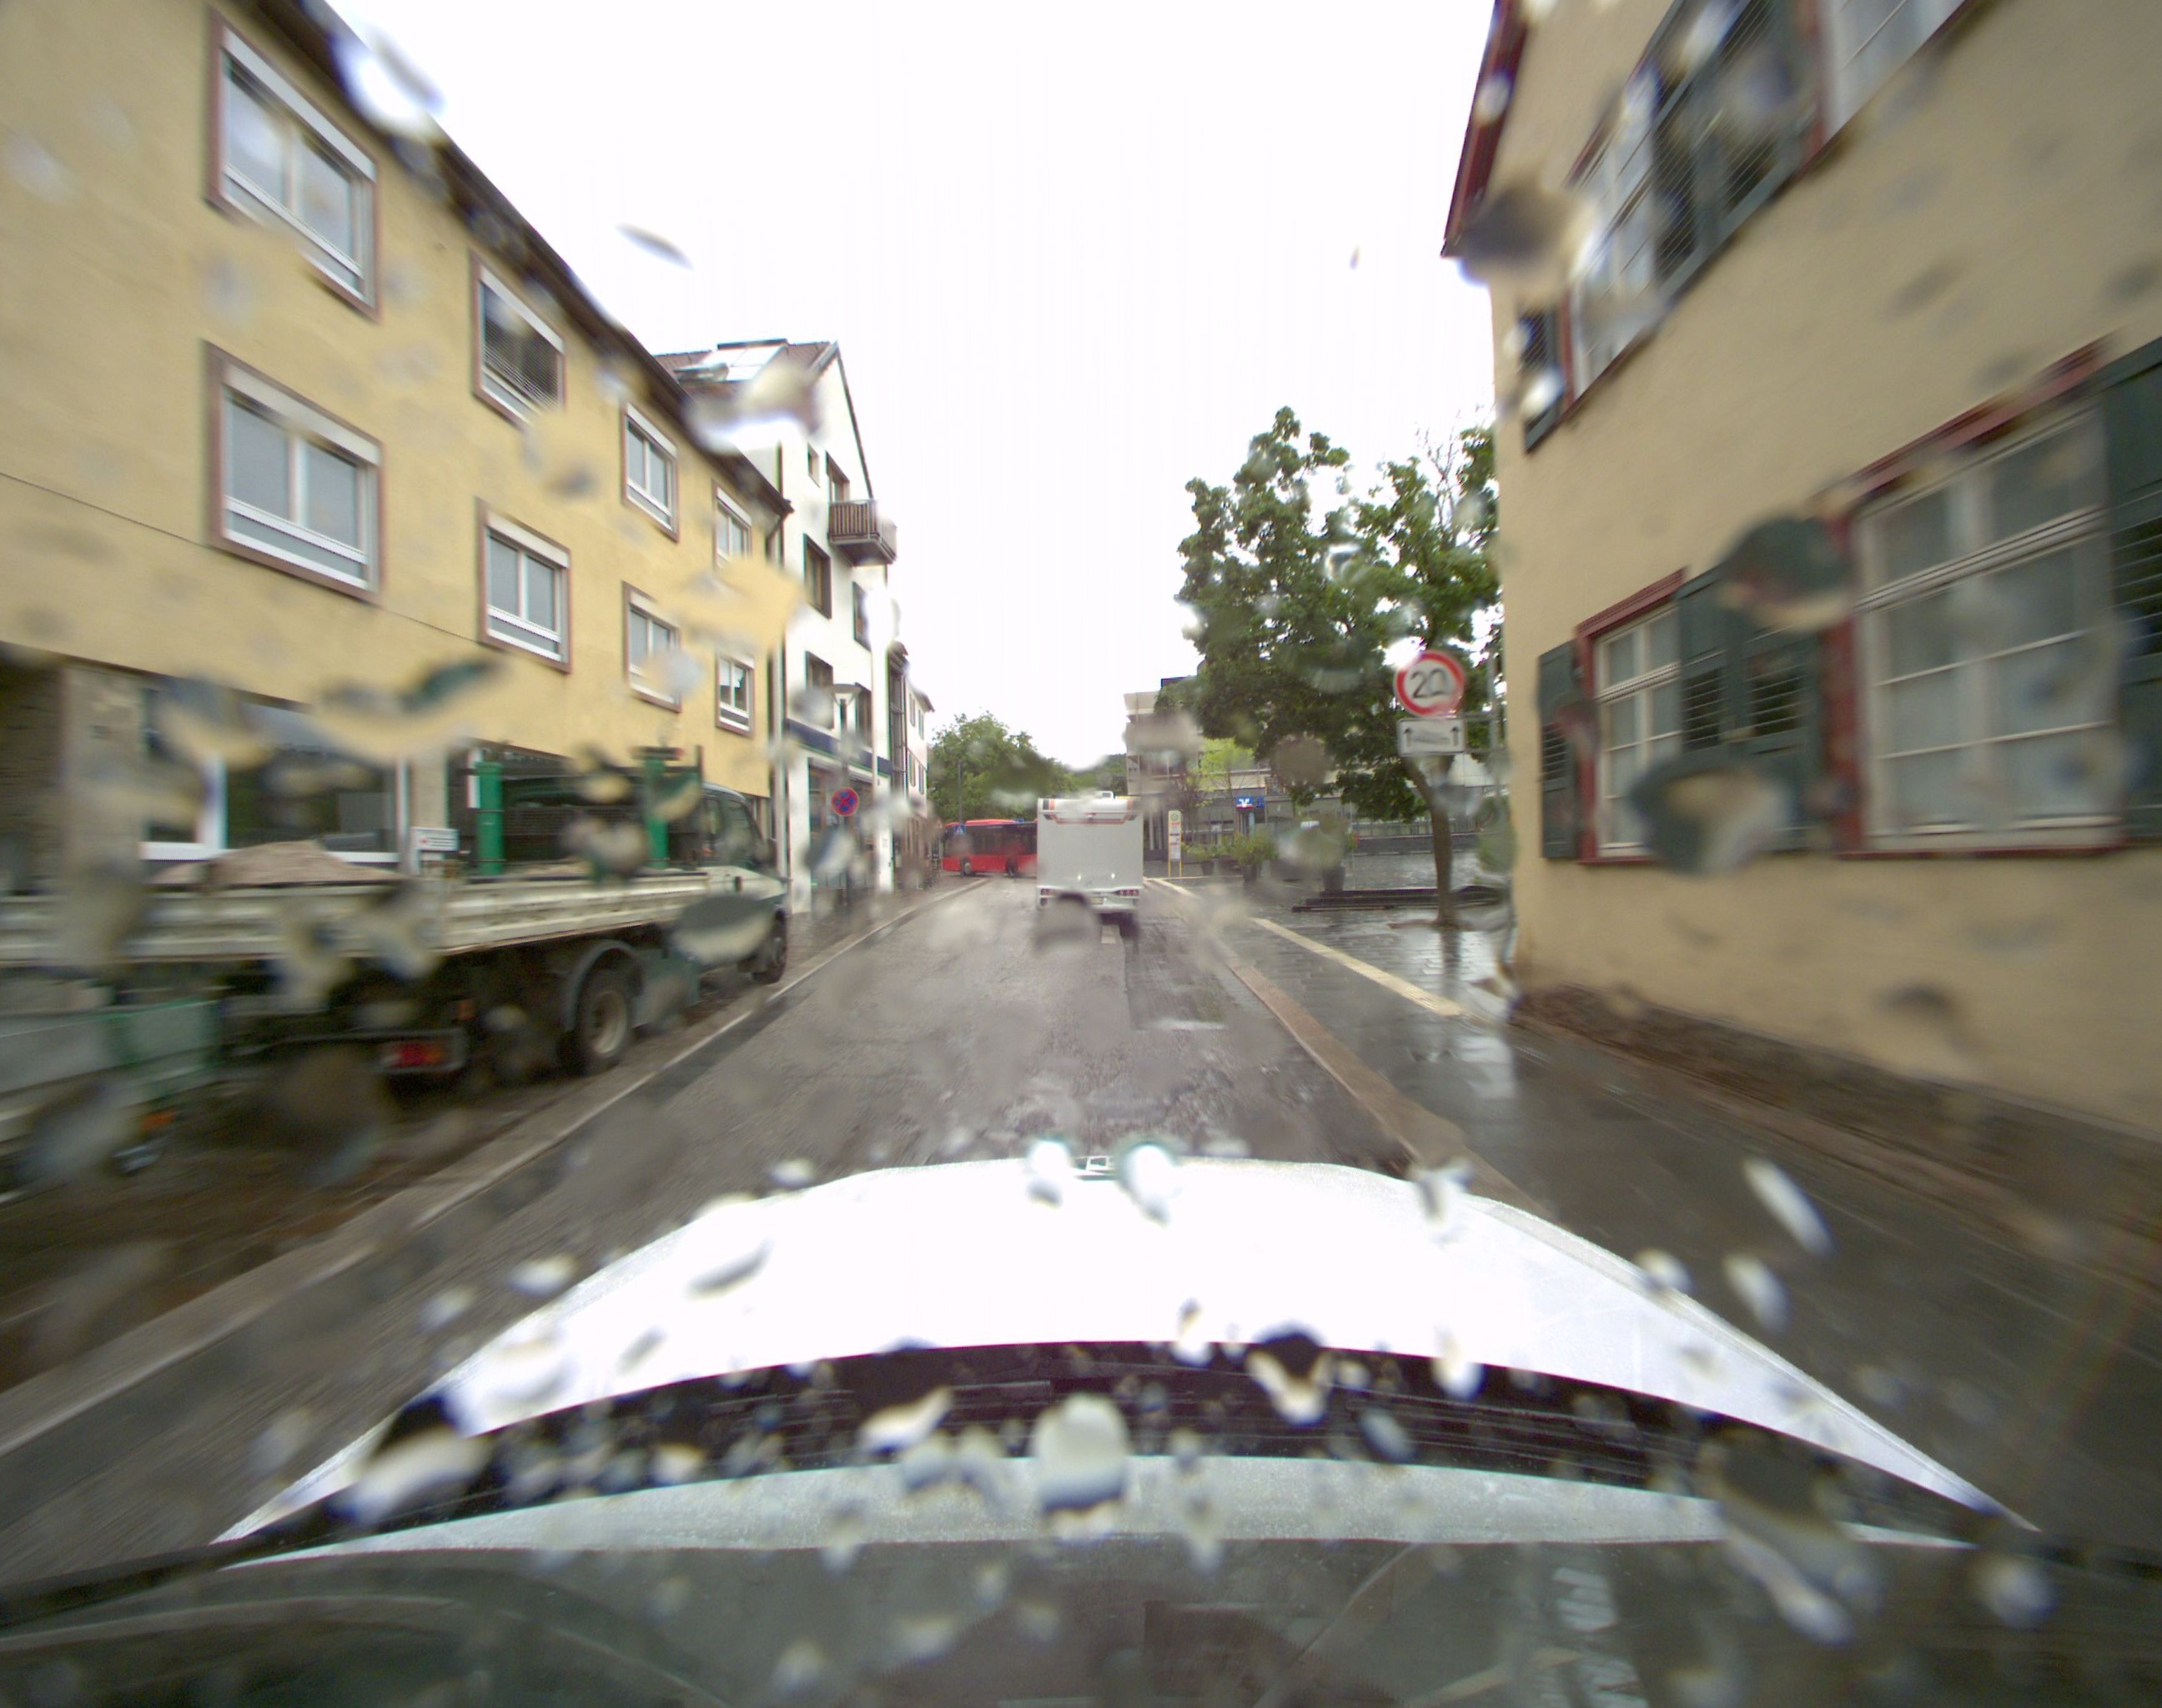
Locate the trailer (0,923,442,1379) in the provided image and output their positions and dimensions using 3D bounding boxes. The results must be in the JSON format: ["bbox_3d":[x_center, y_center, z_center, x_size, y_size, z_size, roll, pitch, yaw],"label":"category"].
[{"bbox_3d":[-4.130,1.002,2.599,1.849,1.124,3.015,-2,2,-4],"label":"trailer"}]

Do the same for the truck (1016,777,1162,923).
[{"bbox_3d":[0.327,-0.074,19.544,2.794,2.796,6.112,-3,0,3],"label":"truck"}]

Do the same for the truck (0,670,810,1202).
[{"bbox_3d":[-4.595,0.290,7.332,2.394,2.594,6.476,-2,2,-4],"label":"truck"}]

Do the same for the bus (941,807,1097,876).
[{"bbox_3d":[-3.650,-0.552,44.187,3.049,3.146,10.028,-3,-1,-40],"label":"bus"}]

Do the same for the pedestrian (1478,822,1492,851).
[{"bbox_3d":[30.208,-1.323,60.924,0.752,2.147,0.662,-3,-1,19],"label":"pedestrian"}]
